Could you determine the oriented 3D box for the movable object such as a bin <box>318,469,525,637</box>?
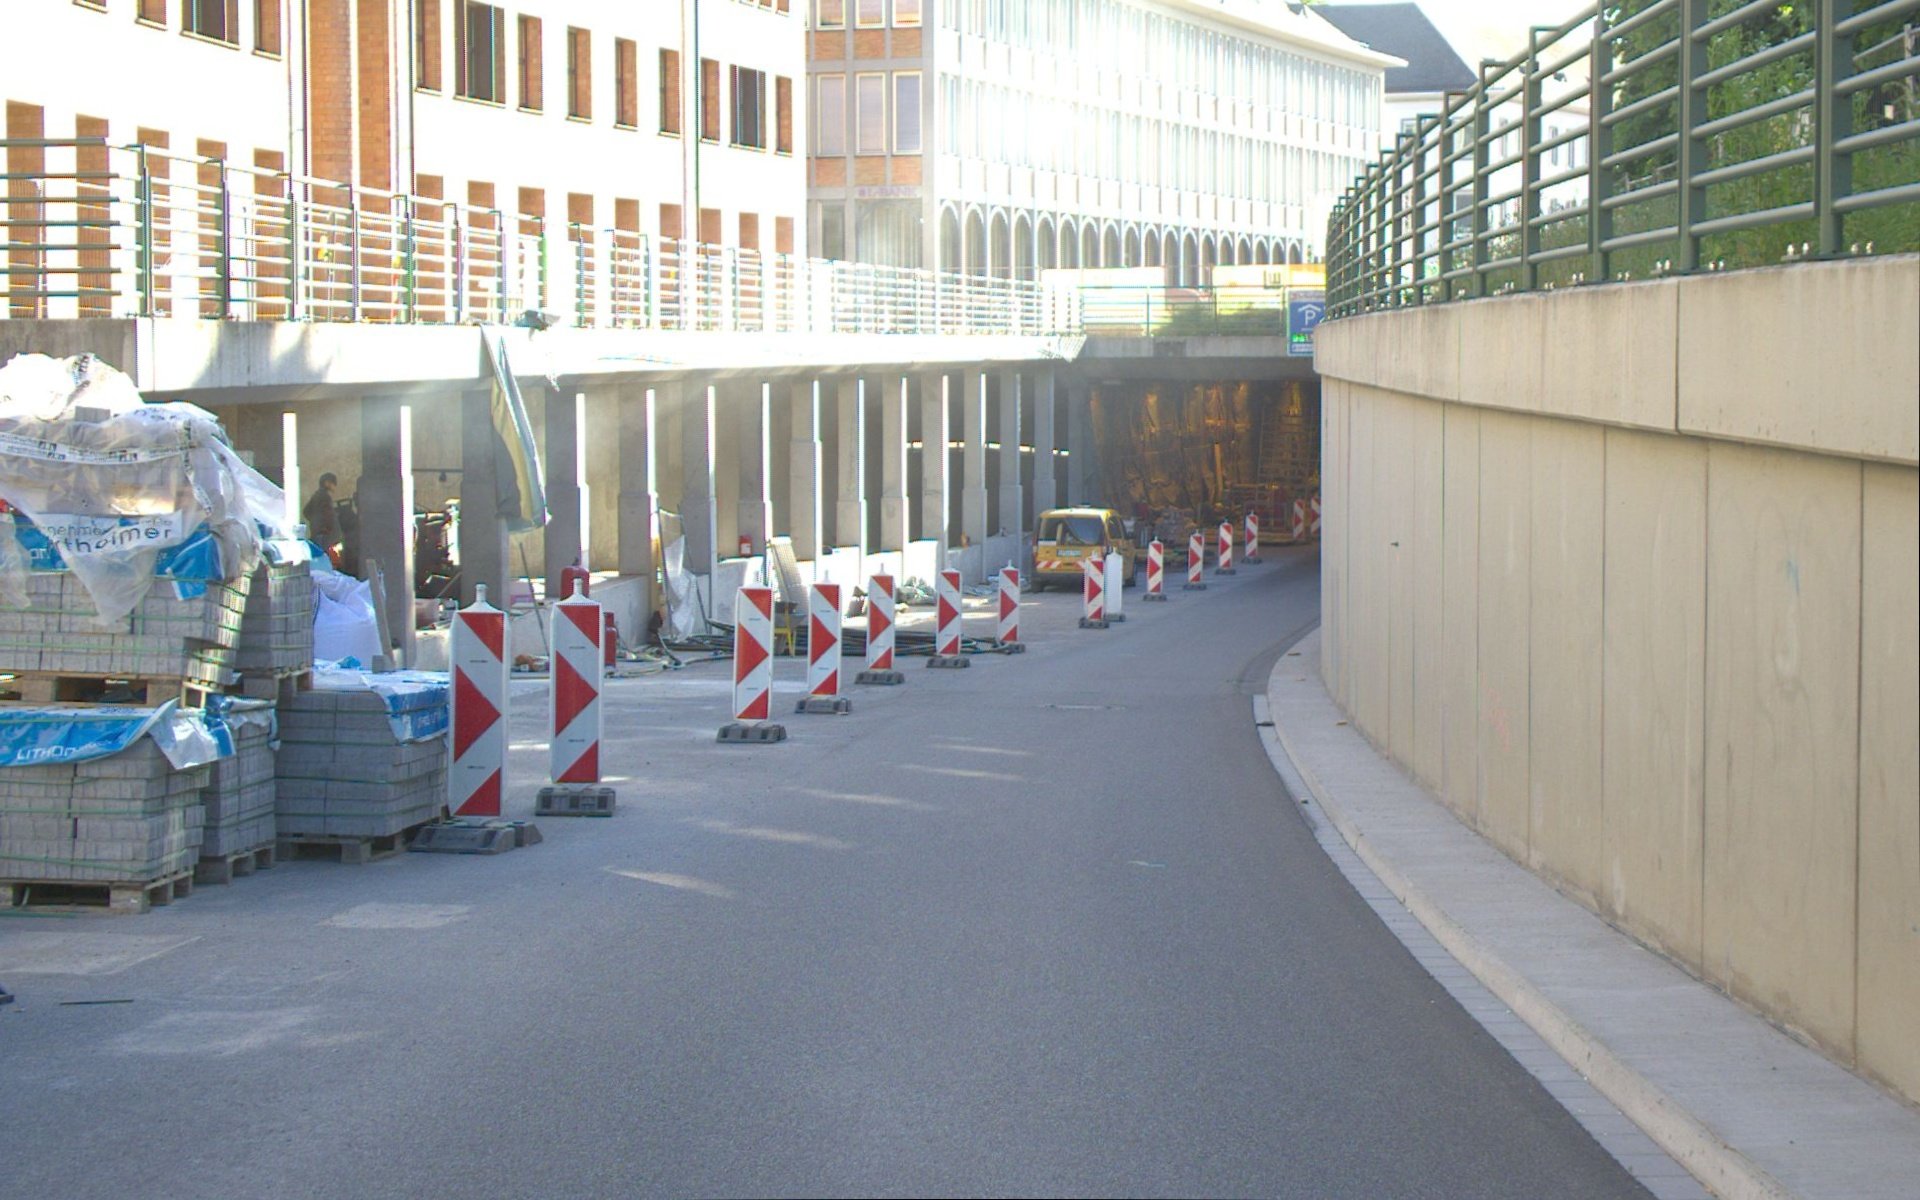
[{"bbox_3d":[-6.662,-0.612,42.838,1.885,1.980,3.159,1,2,4],"label":"movable object such as a bin"}]

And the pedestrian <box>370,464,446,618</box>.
[{"bbox_3d":[-6.556,-0.700,40.821,0.657,1.798,0.624,2,1,14],"label":"pedestrian"}]

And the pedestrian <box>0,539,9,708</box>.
[{"bbox_3d":[-8.331,0.195,28.206,0.871,1.393,0.783,0,1,-3],"label":"pedestrian"}]

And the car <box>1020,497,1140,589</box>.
[{"bbox_3d":[2.625,-1.266,74.157,1.849,1.769,4.433,1,4,11],"label":"car"}]

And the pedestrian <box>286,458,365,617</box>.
[{"bbox_3d":[-7.393,-0.731,40.065,0.704,1.808,0.710,2,1,4],"label":"pedestrian"}]
